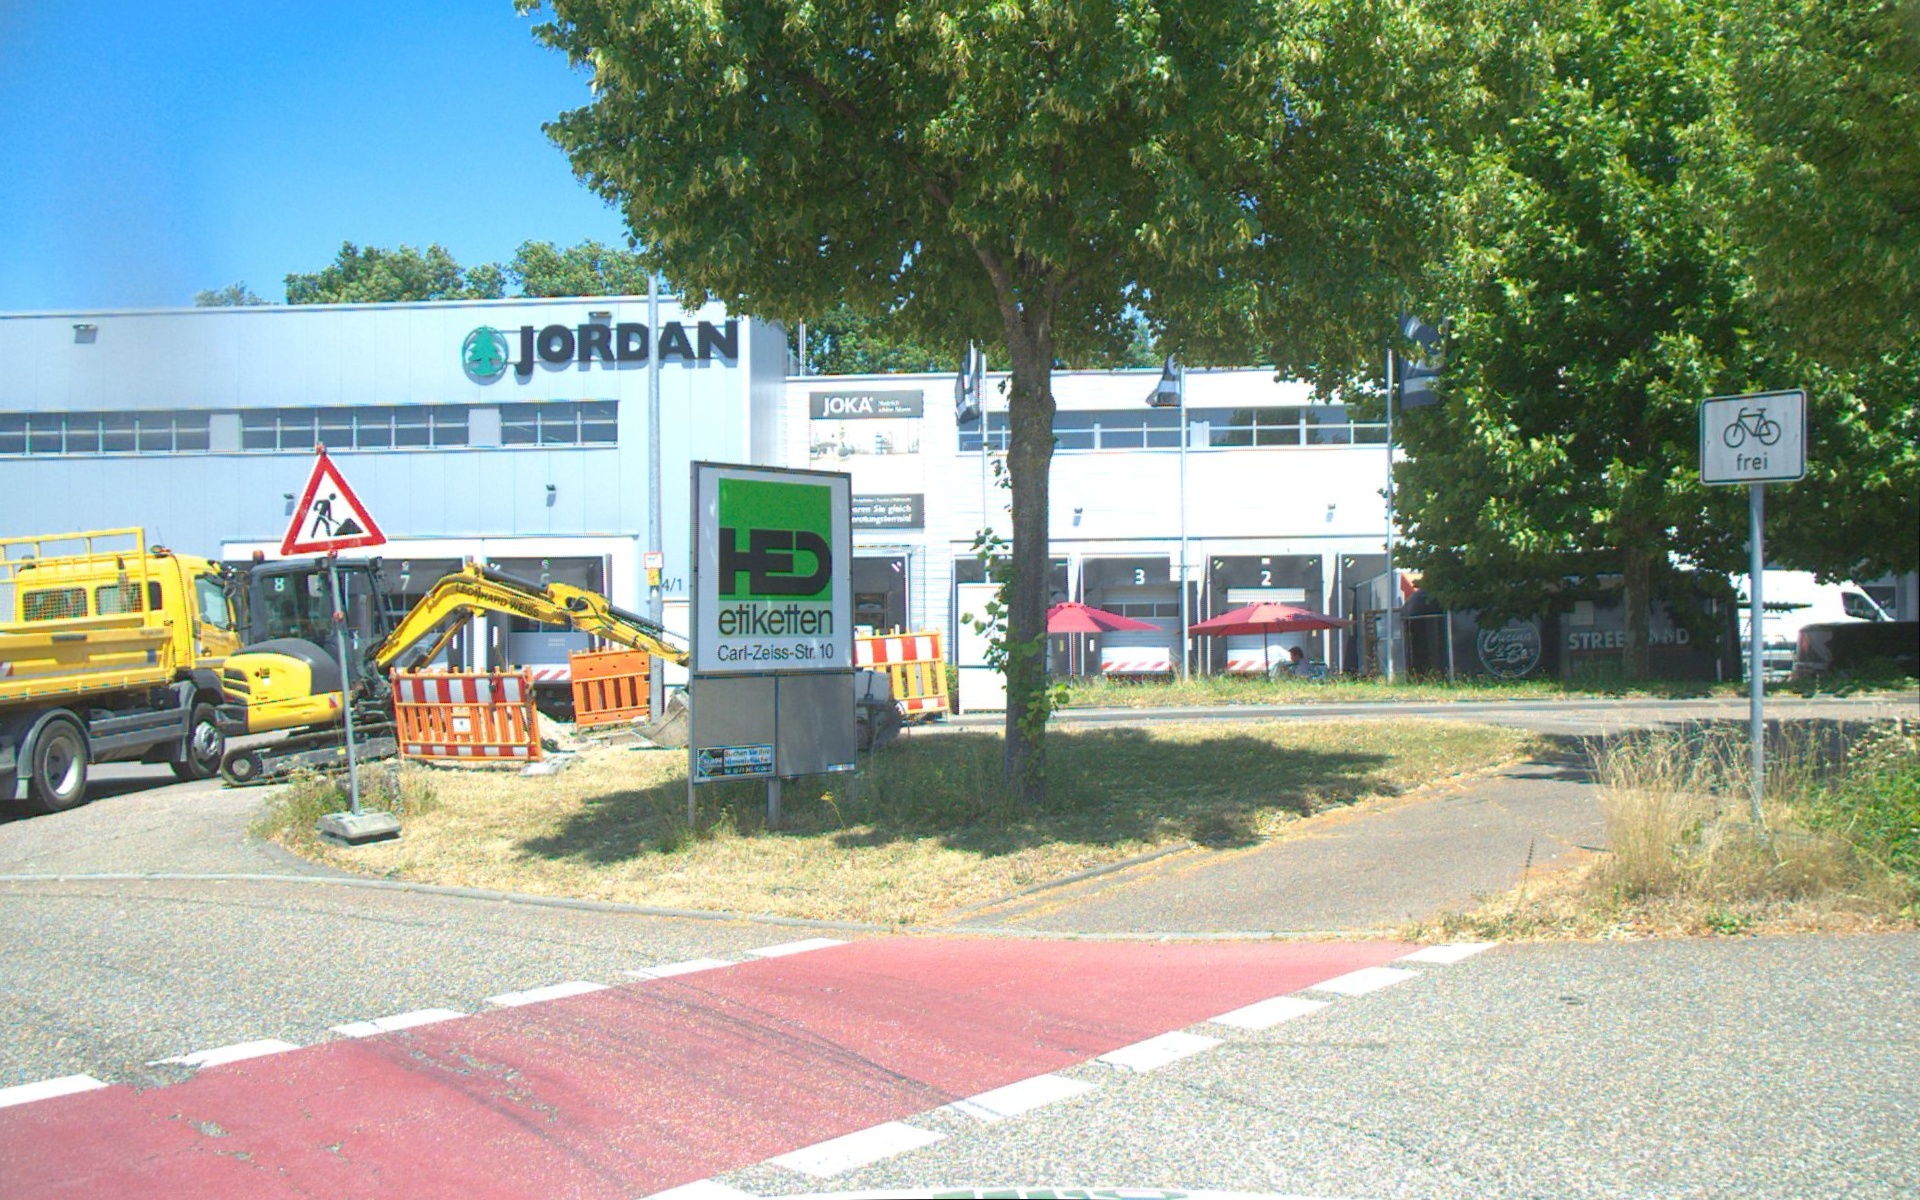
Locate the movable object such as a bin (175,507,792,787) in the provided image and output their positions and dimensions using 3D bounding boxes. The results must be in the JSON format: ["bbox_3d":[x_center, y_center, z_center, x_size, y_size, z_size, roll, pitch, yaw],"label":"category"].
[{"bbox_3d":[-5.359,0.575,18.838,6.417,2.626,2.001,-4,-2,10],"label":"movable object such as a bin"}]

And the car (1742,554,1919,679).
[{"bbox_3d":[14.277,0.218,25.088,3.902,1.758,1.842,-3,-1,7],"label":"car"}]

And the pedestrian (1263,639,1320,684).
[{"bbox_3d":[5.585,1.038,27.870,0.847,0.707,0.407,-3,-2,29],"label":"pedestrian"}]

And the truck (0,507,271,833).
[{"bbox_3d":[-10.662,0.710,18.918,2.534,3.190,6.426,-4,1,1],"label":"truck"}]
